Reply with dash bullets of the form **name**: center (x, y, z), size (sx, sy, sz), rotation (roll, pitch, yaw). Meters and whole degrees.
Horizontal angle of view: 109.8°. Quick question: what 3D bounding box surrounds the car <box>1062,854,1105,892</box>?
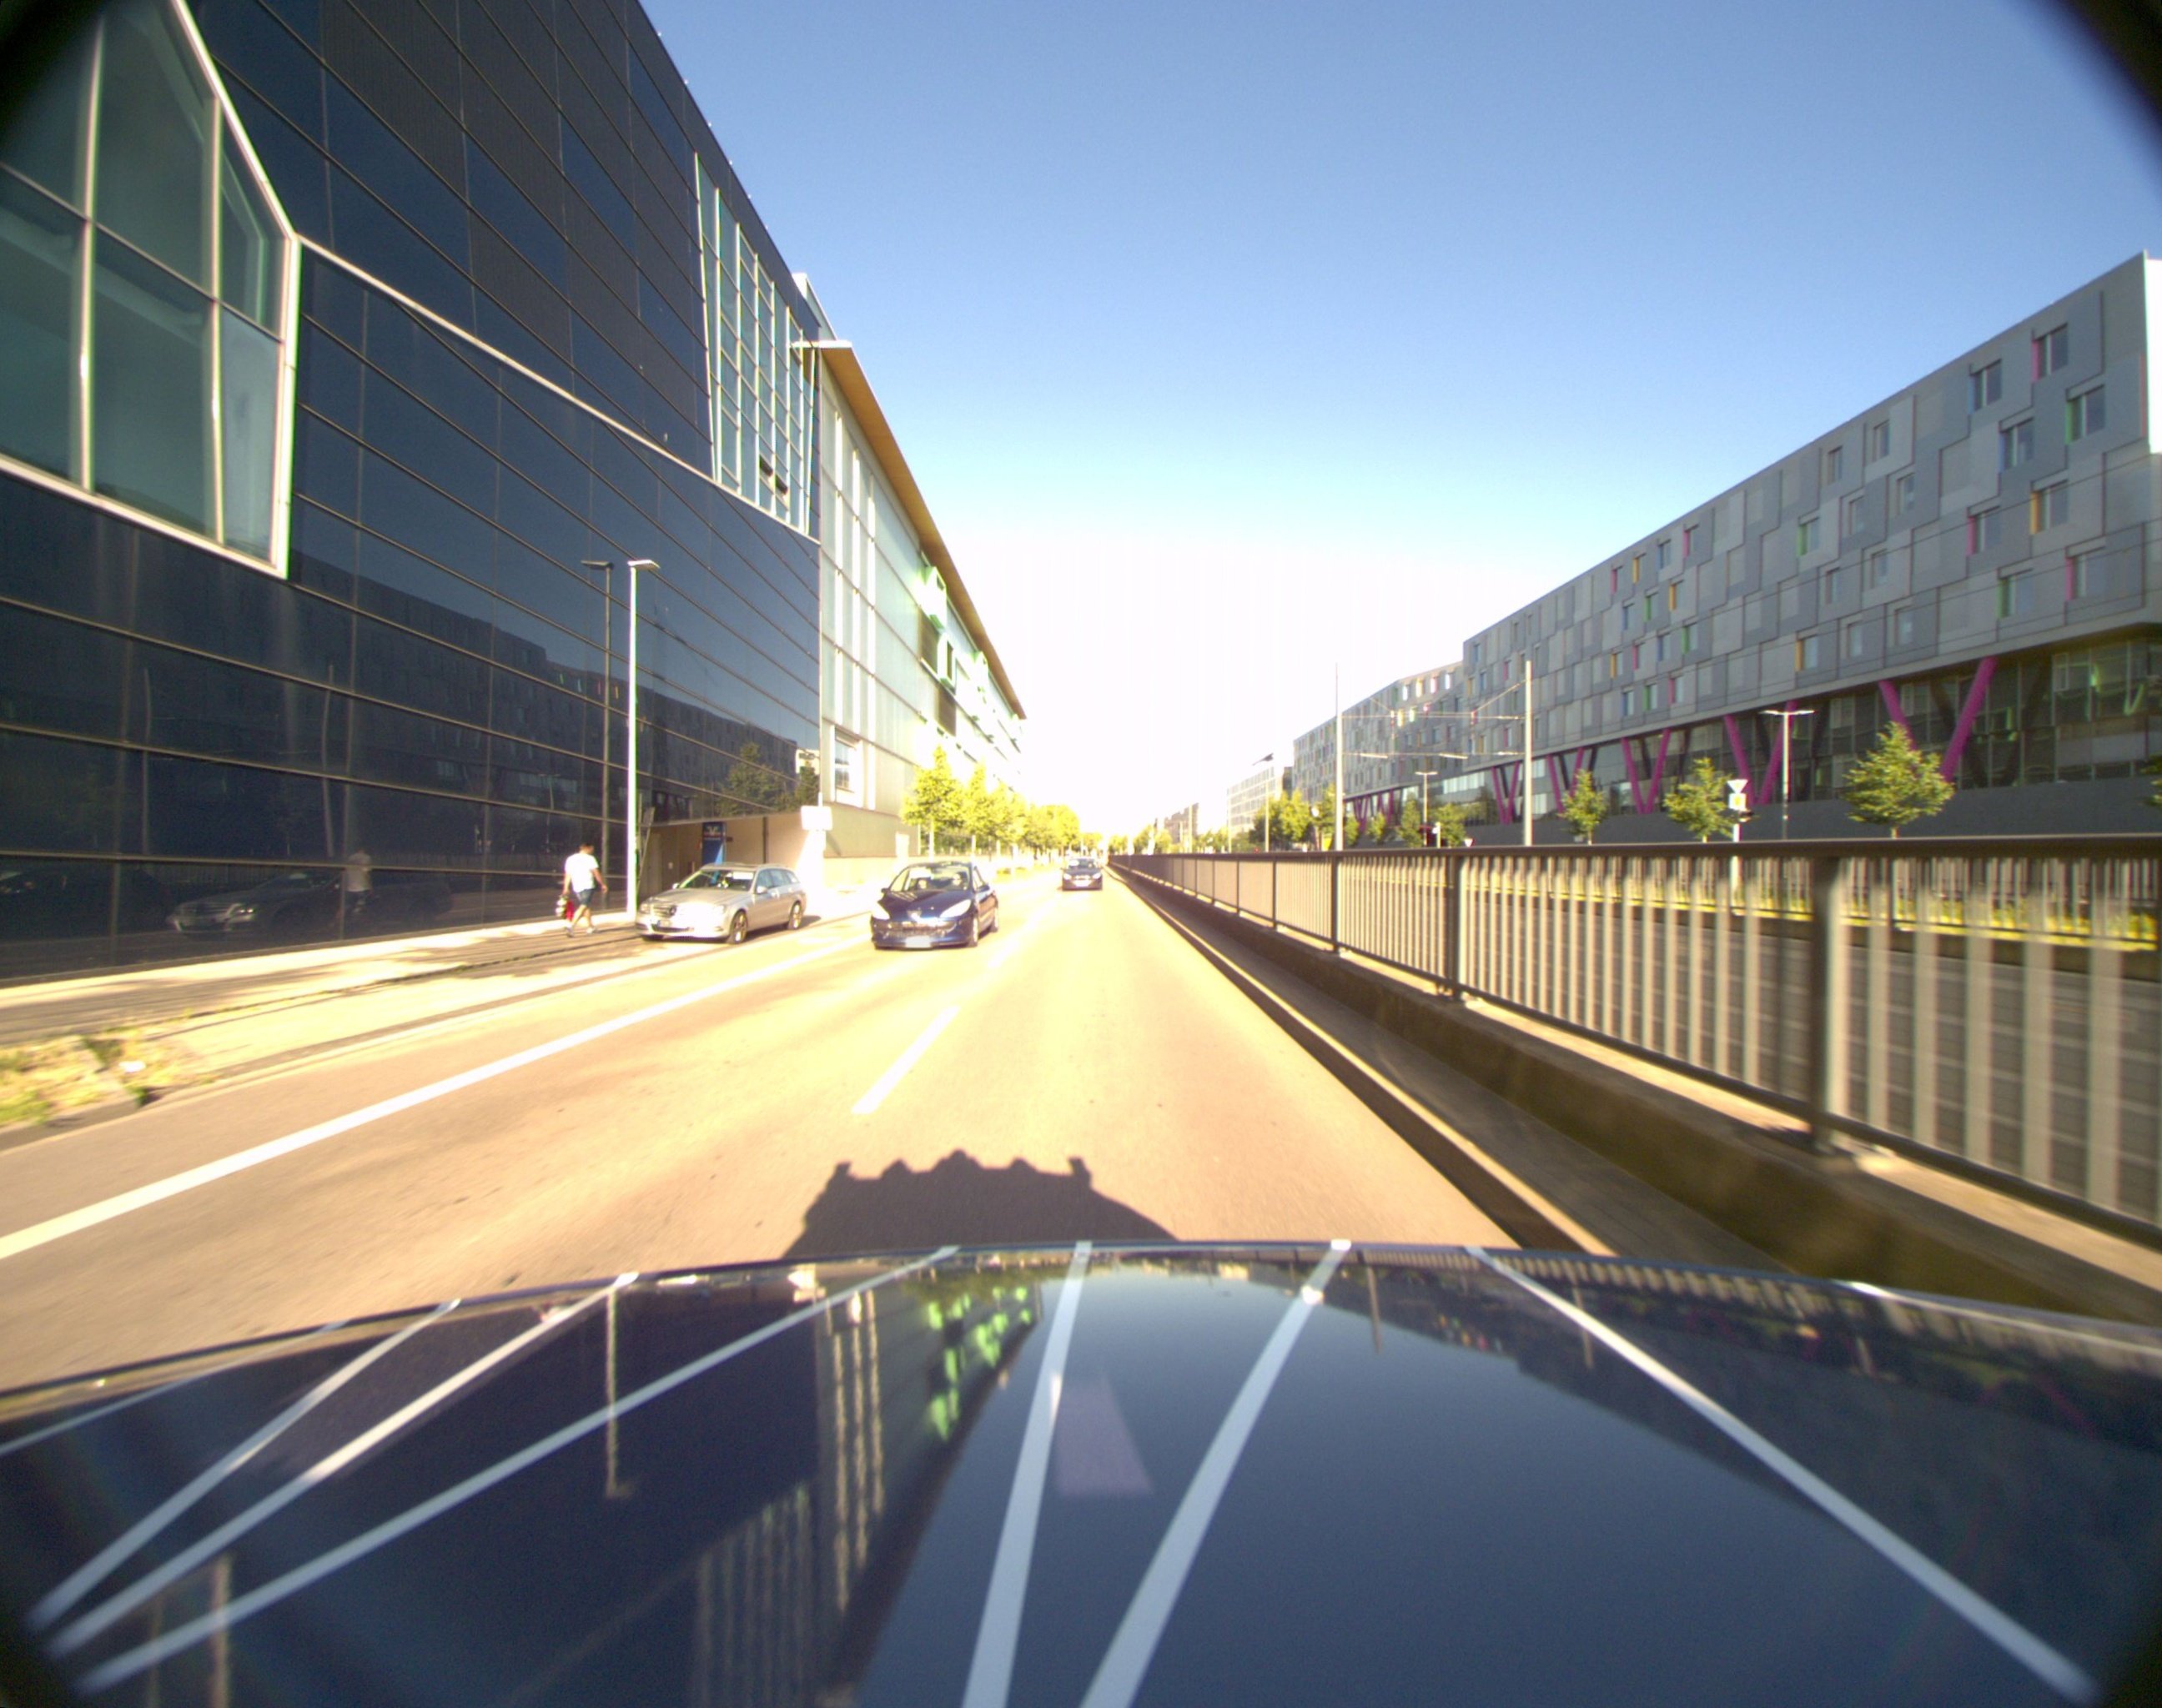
- **car**: center (0.141, 0.809, 34.474), size (1.787, 1.499, 4.589), rotation (-2, 0, 1)

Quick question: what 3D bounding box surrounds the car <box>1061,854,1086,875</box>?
- **car**: center (-0.522, 0.750, 57.555), size (1.753, 1.470, 3.417), rotation (-2, 0, 1)

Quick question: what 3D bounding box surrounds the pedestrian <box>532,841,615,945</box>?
- **pedestrian**: center (-9.333, 0.688, 14.007), size (0.828, 1.814, 0.905), rotation (3, 1, 1)

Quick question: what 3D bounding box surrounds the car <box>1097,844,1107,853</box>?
- **car**: center (4.754, -1.267, 171.758), size (1.998, 2.002, 3.999), rotation (-2, 1, 1)

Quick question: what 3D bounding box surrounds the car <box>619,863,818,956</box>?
- **car**: center (-7.100, 0.981, 15.515), size (1.740, 1.489, 4.715), rotation (1, 0, 1)

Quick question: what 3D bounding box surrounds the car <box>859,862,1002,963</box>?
- **car**: center (-2.564, 0.940, 13.896), size (1.753, 1.470, 3.971), rotation (-2, 0, 1)
